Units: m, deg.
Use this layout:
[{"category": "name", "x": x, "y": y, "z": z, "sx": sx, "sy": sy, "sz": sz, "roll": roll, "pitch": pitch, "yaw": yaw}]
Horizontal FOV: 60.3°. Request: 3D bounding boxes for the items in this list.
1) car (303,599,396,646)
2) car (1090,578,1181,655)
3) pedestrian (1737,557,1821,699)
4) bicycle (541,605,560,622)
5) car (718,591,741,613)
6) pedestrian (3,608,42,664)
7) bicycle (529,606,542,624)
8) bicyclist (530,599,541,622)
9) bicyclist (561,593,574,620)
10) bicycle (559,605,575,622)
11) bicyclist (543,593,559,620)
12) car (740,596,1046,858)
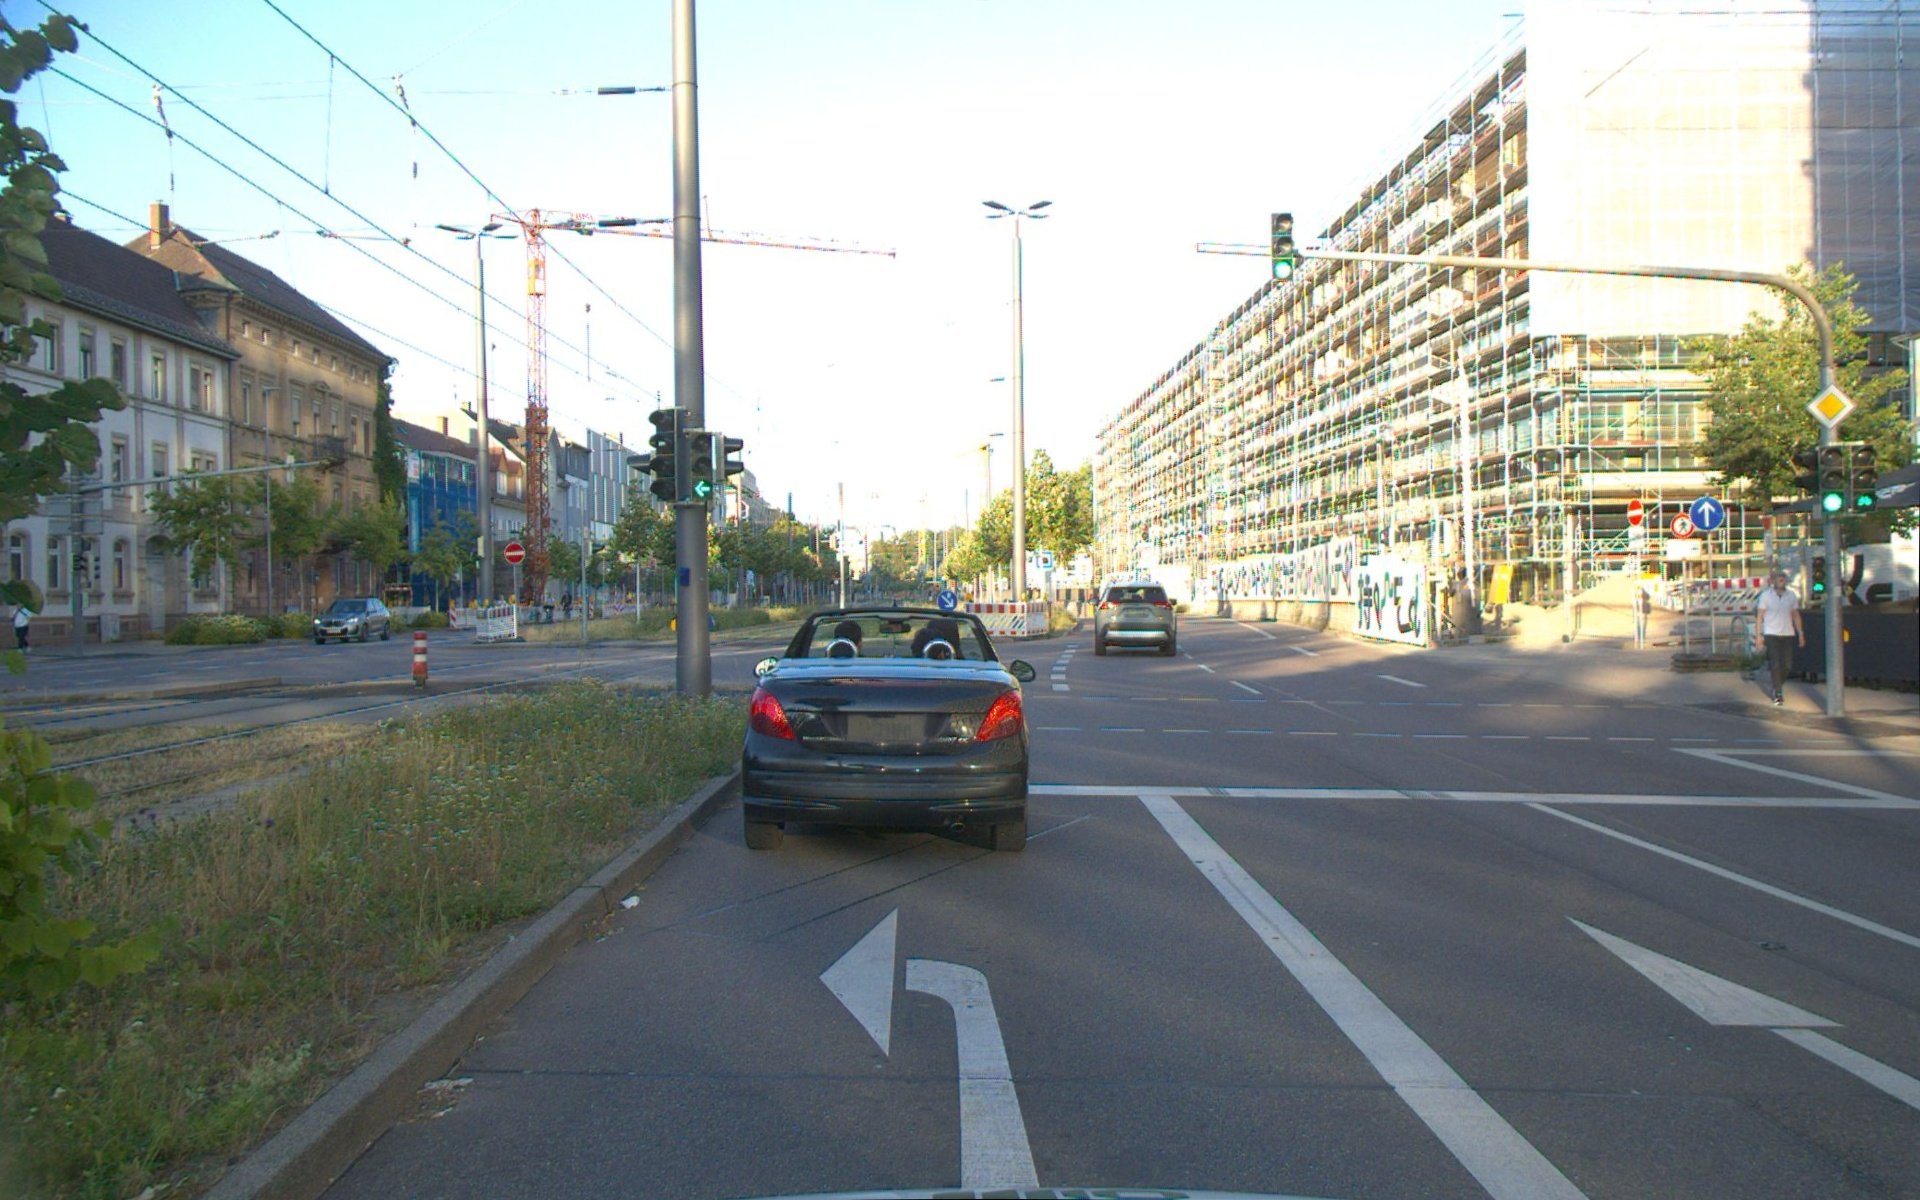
[{"category": "car", "x": -22.947, "y": 0.810, "z": 62.342, "sx": 1.953, "sy": 1.607, "sz": 4.123, "roll": -2, "pitch": 1, "yaw": -1}, {"category": "car", "x": 4.029, "y": 0.337, "z": 38.520, "sx": 1.796, "sy": 1.701, "sz": 4.284, "roll": 0, "pitch": 1, "yaw": 2}, {"category": "pedestrian", "x": 11.158, "y": 0.375, "z": 22.547, "sx": 0.753, "sy": 1.880, "sz": 0.678, "roll": -2, "pitch": 0, "yaw": -2}, {"category": "bicycle", "x": -24.679, "y": 0.794, "z": 99.710, "sx": 0.756, "sy": 0.961, "sz": 1.640, "roll": 1, "pitch": 0, "yaw": 0}, {"category": "car", "x": -21.787, "y": 0.182, "z": 156.416, "sx": 1.624, "sy": 1.998, "sz": 4.266, "roll": 1, "pitch": 0, "yaw": 0}, {"category": "pedestrian", "x": -29.579, "y": 1.124, "z": 52.198, "sx": 0.687, "sy": 1.745, "sz": 0.813, "roll": 1, "pitch": 0, "yaw": 6}, {"category": "bicycle", "x": -24.600, "y": 0.863, "z": 95.884, "sx": 0.579, "sy": 1.006, "sz": 1.552, "roll": 1, "pitch": 0, "yaw": -10}, {"category": "bicyclist", "x": -24.594, "y": 0.622, "z": 95.884, "sx": 0.579, "sy": 1.288, "sz": 0.459, "roll": 1, "pitch": 0, "yaw": -11}, {"category": "bicyclist", "x": -23.651, "y": 0.400, "z": 99.673, "sx": 0.578, "sy": 1.596, "sz": 0.711, "roll": 1, "pitch": 0, "yaw": -1}, {"category": "bicycle", "x": -23.661, "y": 0.836, "z": 99.680, "sx": 0.578, "sy": 0.992, "sz": 1.556, "roll": 1, "pitch": 0, "yaw": 0}, {"category": "bicyclist", "x": -24.669, "y": 0.394, "z": 99.710, "sx": 0.756, "sy": 1.598, "sz": 0.793, "roll": 1, "pitch": 0, "yaw": 0}, {"category": "car", "x": -0.418, "y": 0.683, "z": 10.904, "sx": 1.640, "sy": 1.375, "sz": 3.999, "roll": 0, "pitch": 1, "yaw": -2}]
